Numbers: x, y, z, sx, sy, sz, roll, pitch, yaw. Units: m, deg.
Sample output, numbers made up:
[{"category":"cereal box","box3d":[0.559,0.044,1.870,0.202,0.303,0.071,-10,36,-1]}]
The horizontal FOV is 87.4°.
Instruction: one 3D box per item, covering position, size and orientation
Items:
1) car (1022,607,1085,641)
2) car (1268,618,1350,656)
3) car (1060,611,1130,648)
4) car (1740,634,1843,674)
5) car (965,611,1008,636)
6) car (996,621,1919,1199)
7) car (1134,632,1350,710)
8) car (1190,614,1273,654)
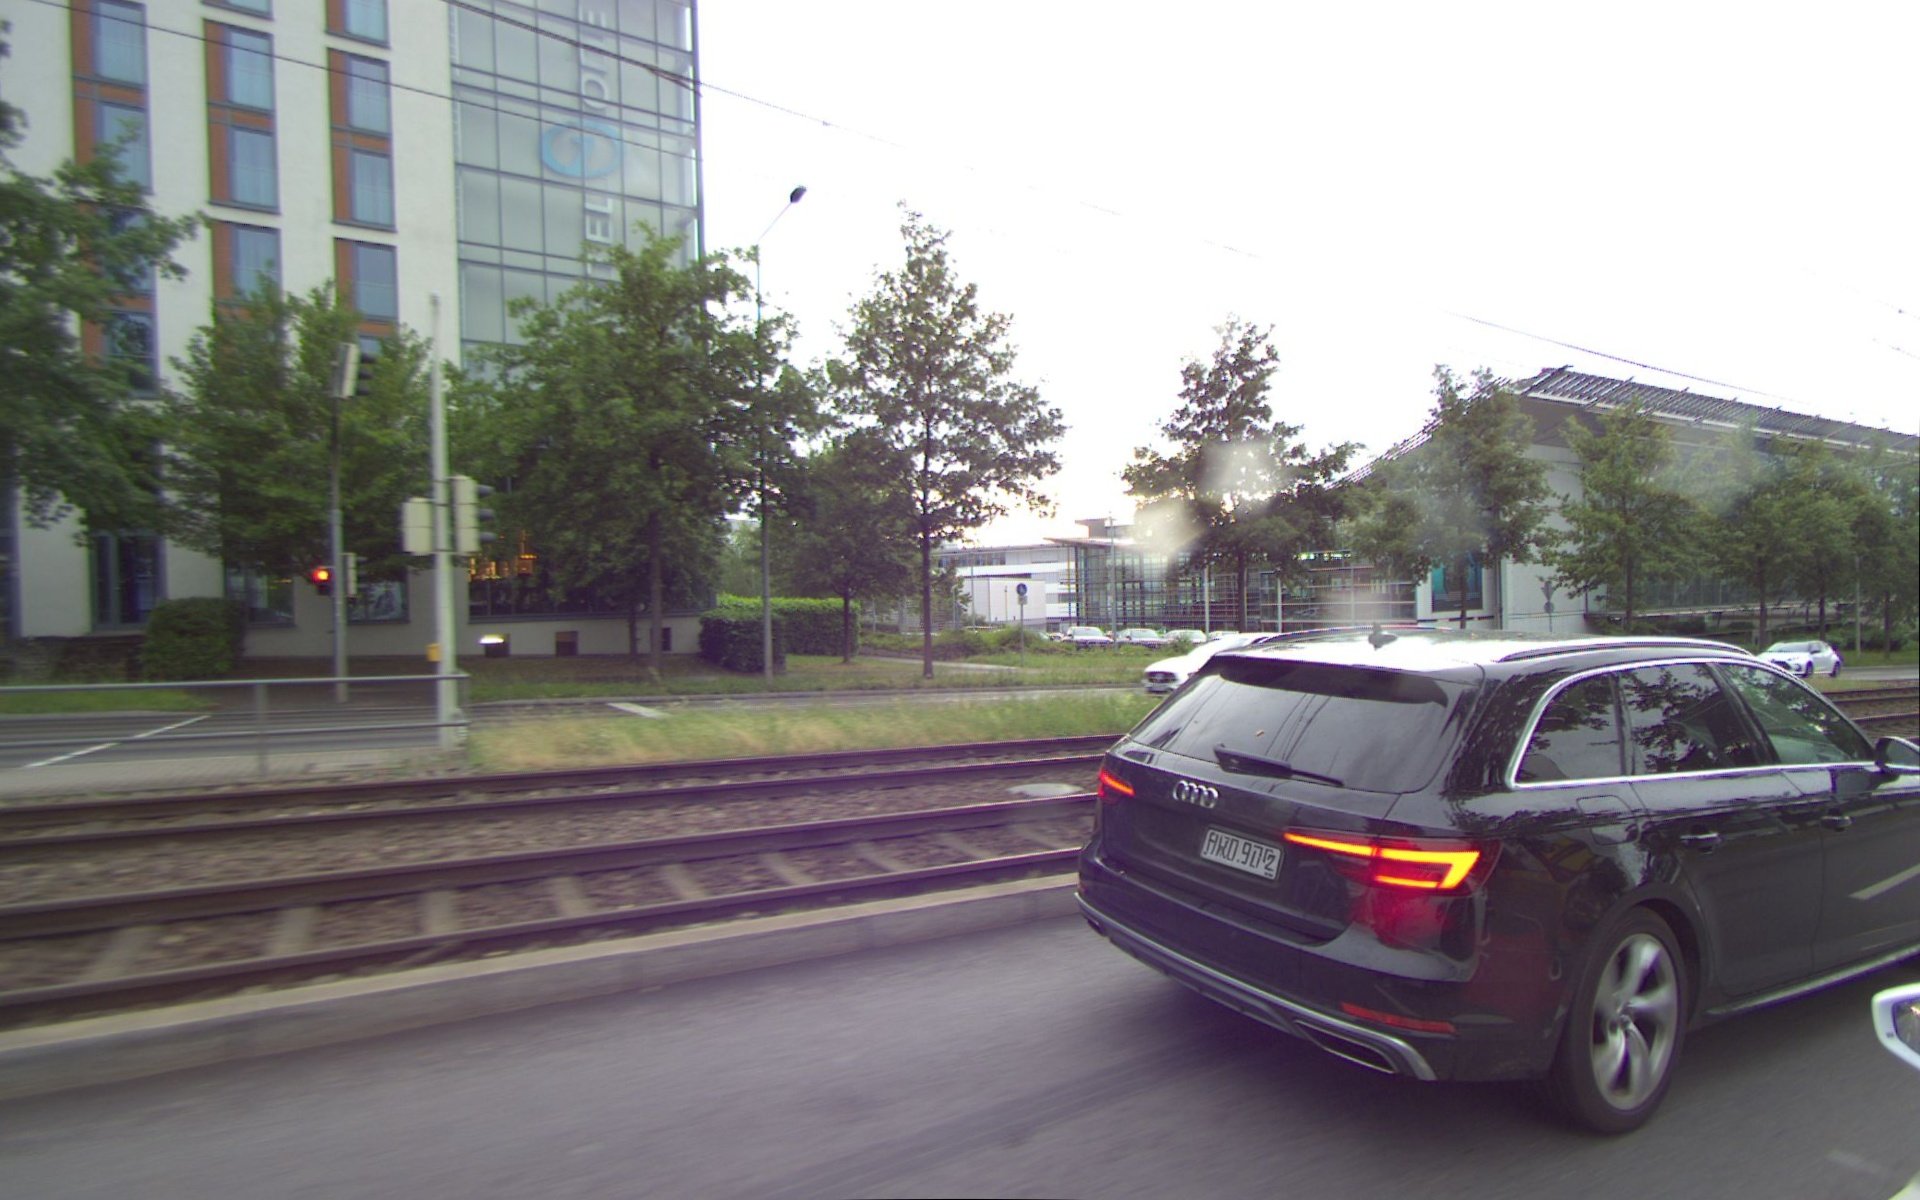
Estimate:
[{"category":"car","box3d":[5.539,1.397,60.041,1.839,1.861,4.055,1,0,-28]},{"category":"car","box3d":[18.987,2.008,54.755,1.839,1.861,4.055,1,0,-28]},{"category":"car","box3d":[7.444,1.614,55.690,1.839,1.861,4.055,1,0,-28]},{"category":"car","box3d":[32.874,2.101,39.700,4.090,1.466,1.872,1,-2,-31]},{"category":"car","box3d":[2.174,1.927,83.369,1.839,1.861,4.055,1,0,-28]},{"category":"car","box3d":[2.635,0.834,4.241,4.771,1.453,1.782,1,0,-30]},{"category":"car","box3d":[5.905,1.415,20.925,4.377,1.463,1.829,1,-3,-31]},{"category":"car","box3d":[13.987,1.749,51.892,1.839,1.861,4.055,1,0,-28]}]
